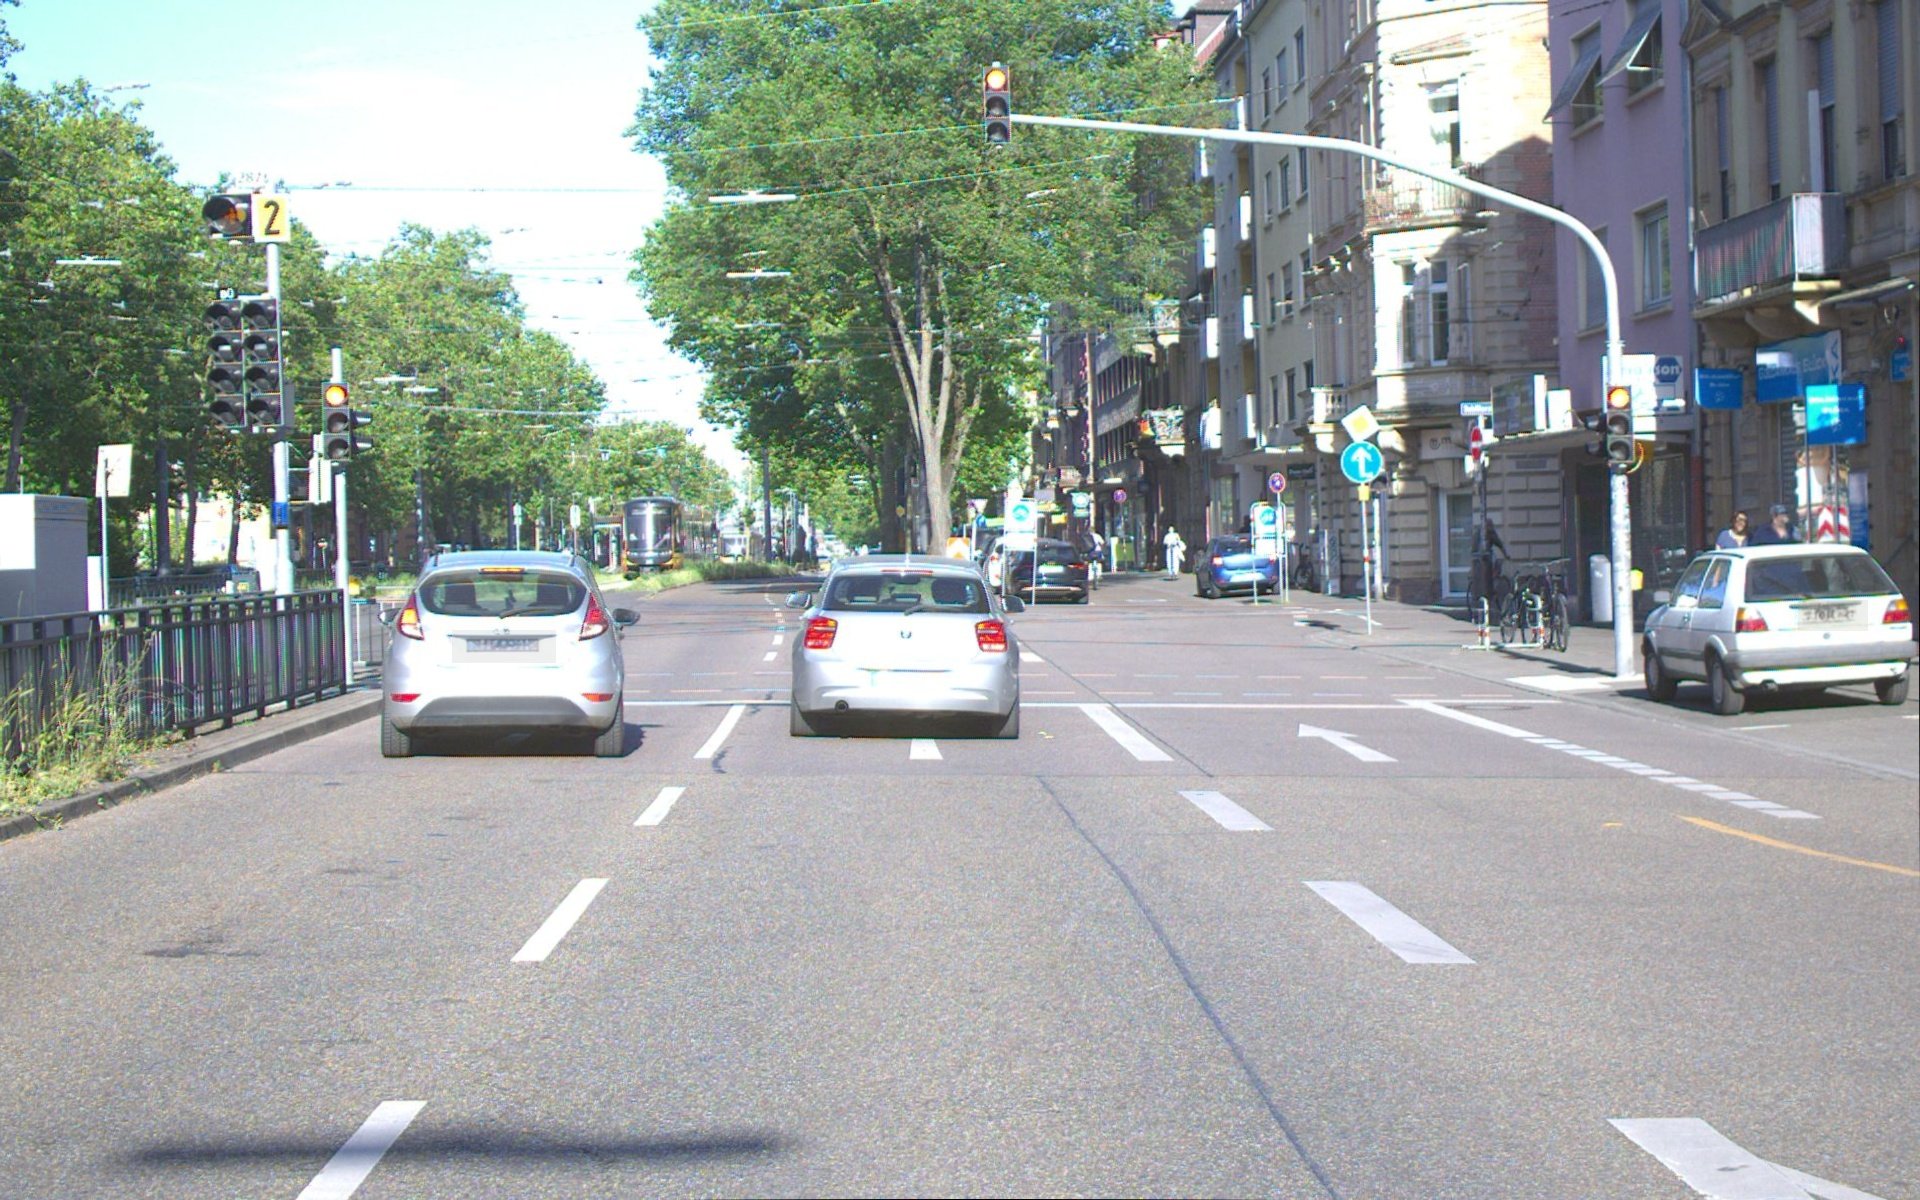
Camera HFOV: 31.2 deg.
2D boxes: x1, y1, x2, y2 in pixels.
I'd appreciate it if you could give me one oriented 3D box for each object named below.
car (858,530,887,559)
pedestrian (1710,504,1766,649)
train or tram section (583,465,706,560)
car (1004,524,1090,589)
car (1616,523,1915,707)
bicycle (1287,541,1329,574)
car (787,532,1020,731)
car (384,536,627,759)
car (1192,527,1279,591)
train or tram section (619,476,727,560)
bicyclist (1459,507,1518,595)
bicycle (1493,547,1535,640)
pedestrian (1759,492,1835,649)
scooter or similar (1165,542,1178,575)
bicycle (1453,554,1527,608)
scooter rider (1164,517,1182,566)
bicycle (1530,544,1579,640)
[{"bbox_3d":[-6.156,-3.910,242.353,1.993,2.007,4.000,-2,1,-1],"label":"car"},{"bbox_3d":[9.223,-0.282,40.755,0.549,1.702,0.388,-1,1,2],"label":"pedestrian"},{"bbox_3d":[-13.677,-3.827,150.684,3.969,3.852,17.490,-1,1,-1],"label":"train or tram section"},{"bbox_3d":[1.961,-1.009,78.576,1.735,1.428,3.678,0,1,-2],"label":"car"},{"bbox_3d":[7.082,0.079,30.599,1.562,1.411,4.004,-4,1,-1],"label":"car"},{"bbox_3d":[8.570,-1.046,84.684,0.754,0.768,1.946,-1,1,-2],"label":"bicycle"},{"bbox_3d":[-0.463,0.197,27.834,1.740,1.462,4.000,1,1,-1],"label":"car"},{"bbox_3d":[-3.299,0.286,25.321,1.609,1.462,3.891,-1,1,-6],"label":"car"},{"bbox_3d":[6.730,-1.013,84.206,1.735,1.514,3.637,0,1,-2],"label":"car"},{"bbox_3d":[-13.908,-4.037,168.205,4.005,3.852,17.490,-1,1,-1],"label":"train or tram section"},{"bbox_3d":[9.165,-0.854,59.602,0.548,1.496,0.959,0,2,41],"label":"bicyclist"},{"bbox_3d":[7.042,-0.092,43.742,0.414,1.137,1.809,0,1,6],"label":"bicycle"},{"bbox_3d":[9.909,-0.353,40.719,0.673,1.800,0.531,-3,1,-1],"label":"pedestrian"},{"bbox_3d":[6.491,-1.268,105.355,0.337,0.984,1.284,-1,2,2],"label":"scooter or similar"},{"bbox_3d":[9.199,-0.339,59.616,0.654,0.900,1.335,1,2,41],"label":"bicycle"},{"bbox_3d":[6.522,-1.788,105.340,0.465,1.500,0.811,0,0,0],"label":"scooter rider"},{"bbox_3d":[7.451,-0.115,43.133,0.448,1.155,1.758,-1,2,5],"label":"bicycle"}]
